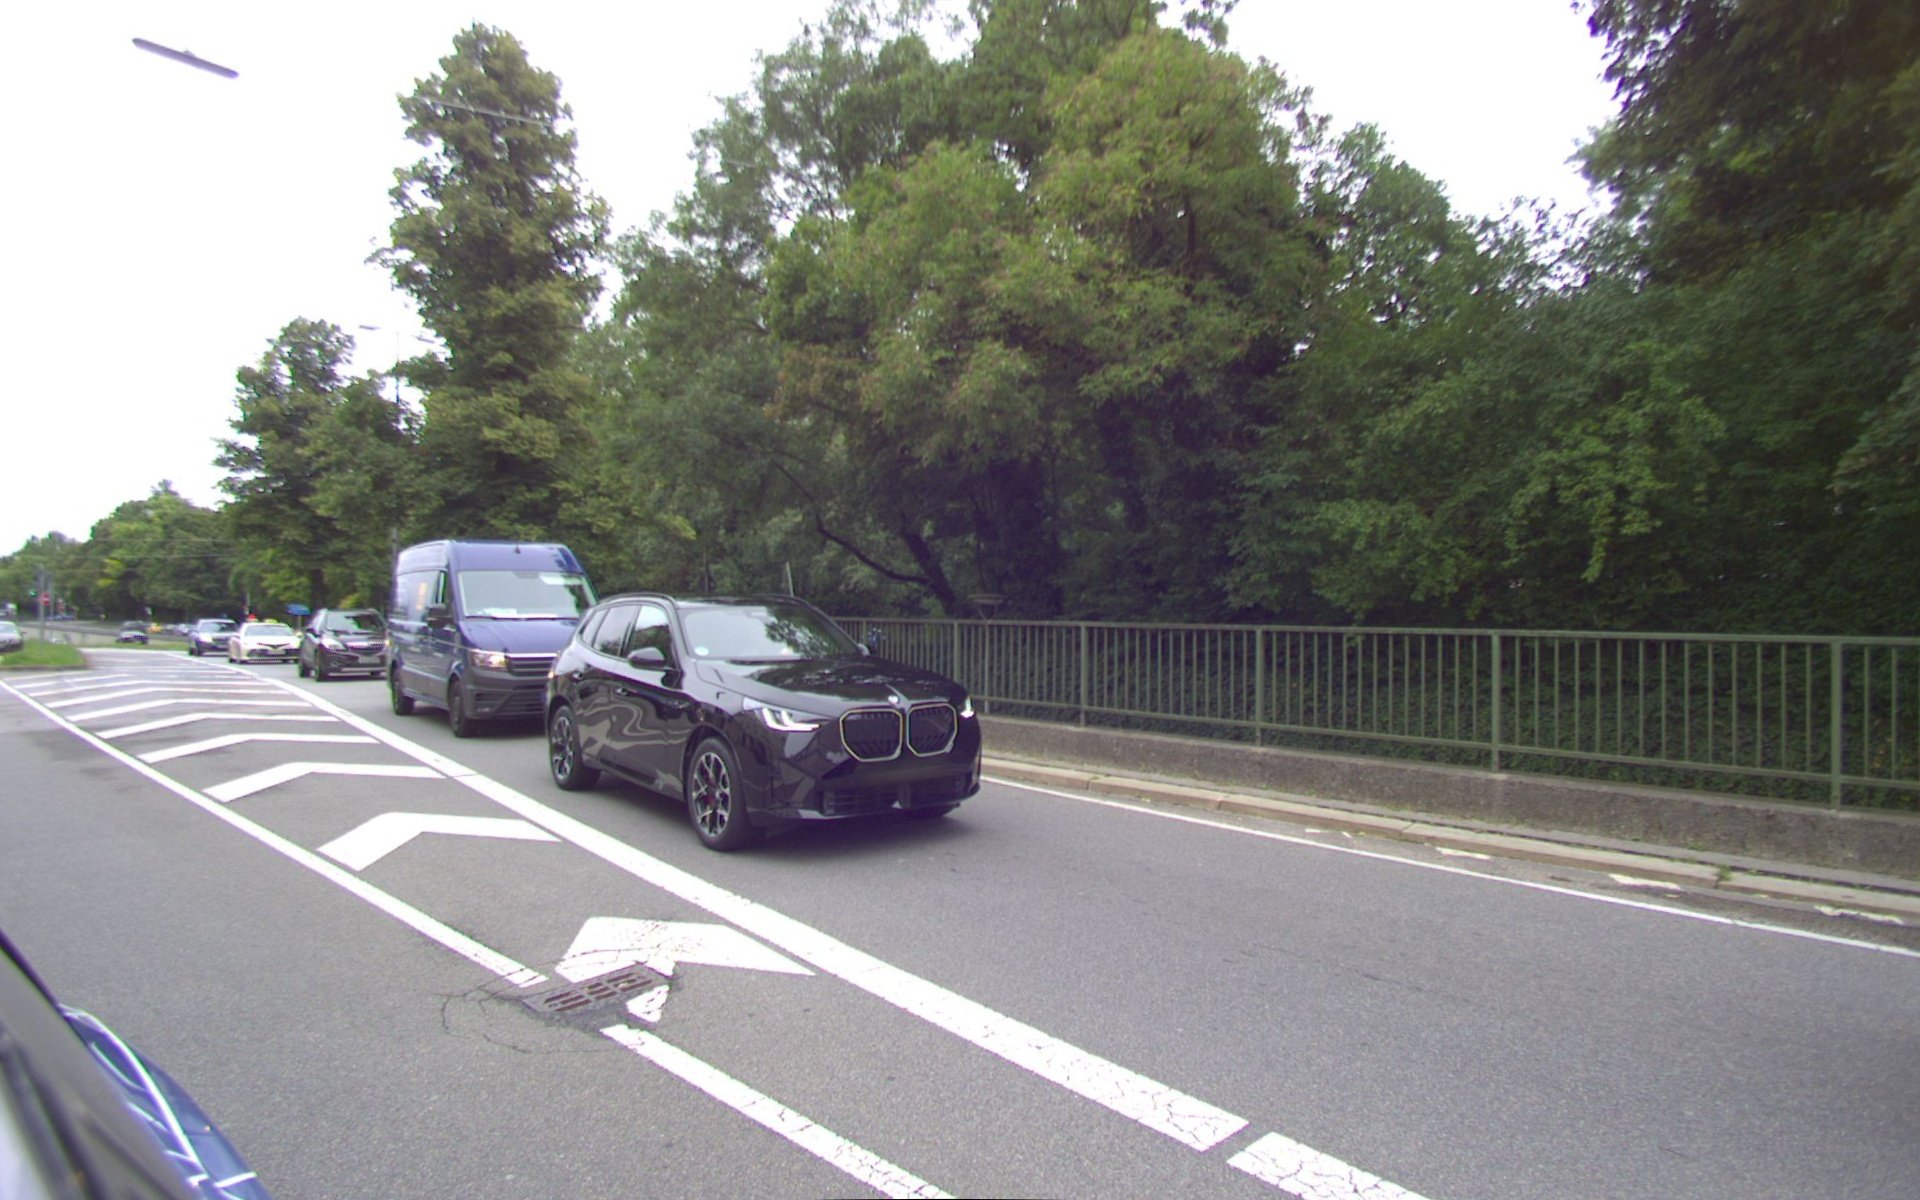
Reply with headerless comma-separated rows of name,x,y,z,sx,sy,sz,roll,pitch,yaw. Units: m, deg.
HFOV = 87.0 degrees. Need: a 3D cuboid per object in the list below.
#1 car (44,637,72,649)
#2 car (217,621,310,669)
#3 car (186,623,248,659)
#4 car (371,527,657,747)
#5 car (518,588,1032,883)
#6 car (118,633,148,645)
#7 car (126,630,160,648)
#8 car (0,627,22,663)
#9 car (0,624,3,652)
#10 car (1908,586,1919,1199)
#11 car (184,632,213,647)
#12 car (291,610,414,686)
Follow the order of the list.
car,-109.115,5.181,122.364,4.231,1.457,1.809,-2,-3,39
car,-24.497,1.545,35.541,1.964,1.577,4.658,2,-2,-44
car,-34.170,1.858,46.501,1.962,1.577,4.279,1,-2,-41
car,-6.534,0.452,14.350,2.156,2.482,5.861,1,-1,-40
car,-1.781,0.766,7.977,1.889,1.598,4.839,1,-1,-39
car,-101.638,4.746,124.335,4.025,1.457,1.874,-2,-3,36
car,-77.453,3.687,95.932,3.998,1.570,1.841,-2,-2,41
car,-43.960,2.042,45.991,1.876,1.577,4.775,2,-2,-43
car,-55.320,2.138,56.980,4.285,1.577,1.964,-2,-2,45
car,4.581,0.693,1.344,1.963,1.465,4.739,2,-2,-43
car,-87.572,4.527,116.391,3.998,1.759,1.842,-1,-2,41
car,-14.536,1.103,24.111,1.961,1.640,4.281,1,-2,-38
